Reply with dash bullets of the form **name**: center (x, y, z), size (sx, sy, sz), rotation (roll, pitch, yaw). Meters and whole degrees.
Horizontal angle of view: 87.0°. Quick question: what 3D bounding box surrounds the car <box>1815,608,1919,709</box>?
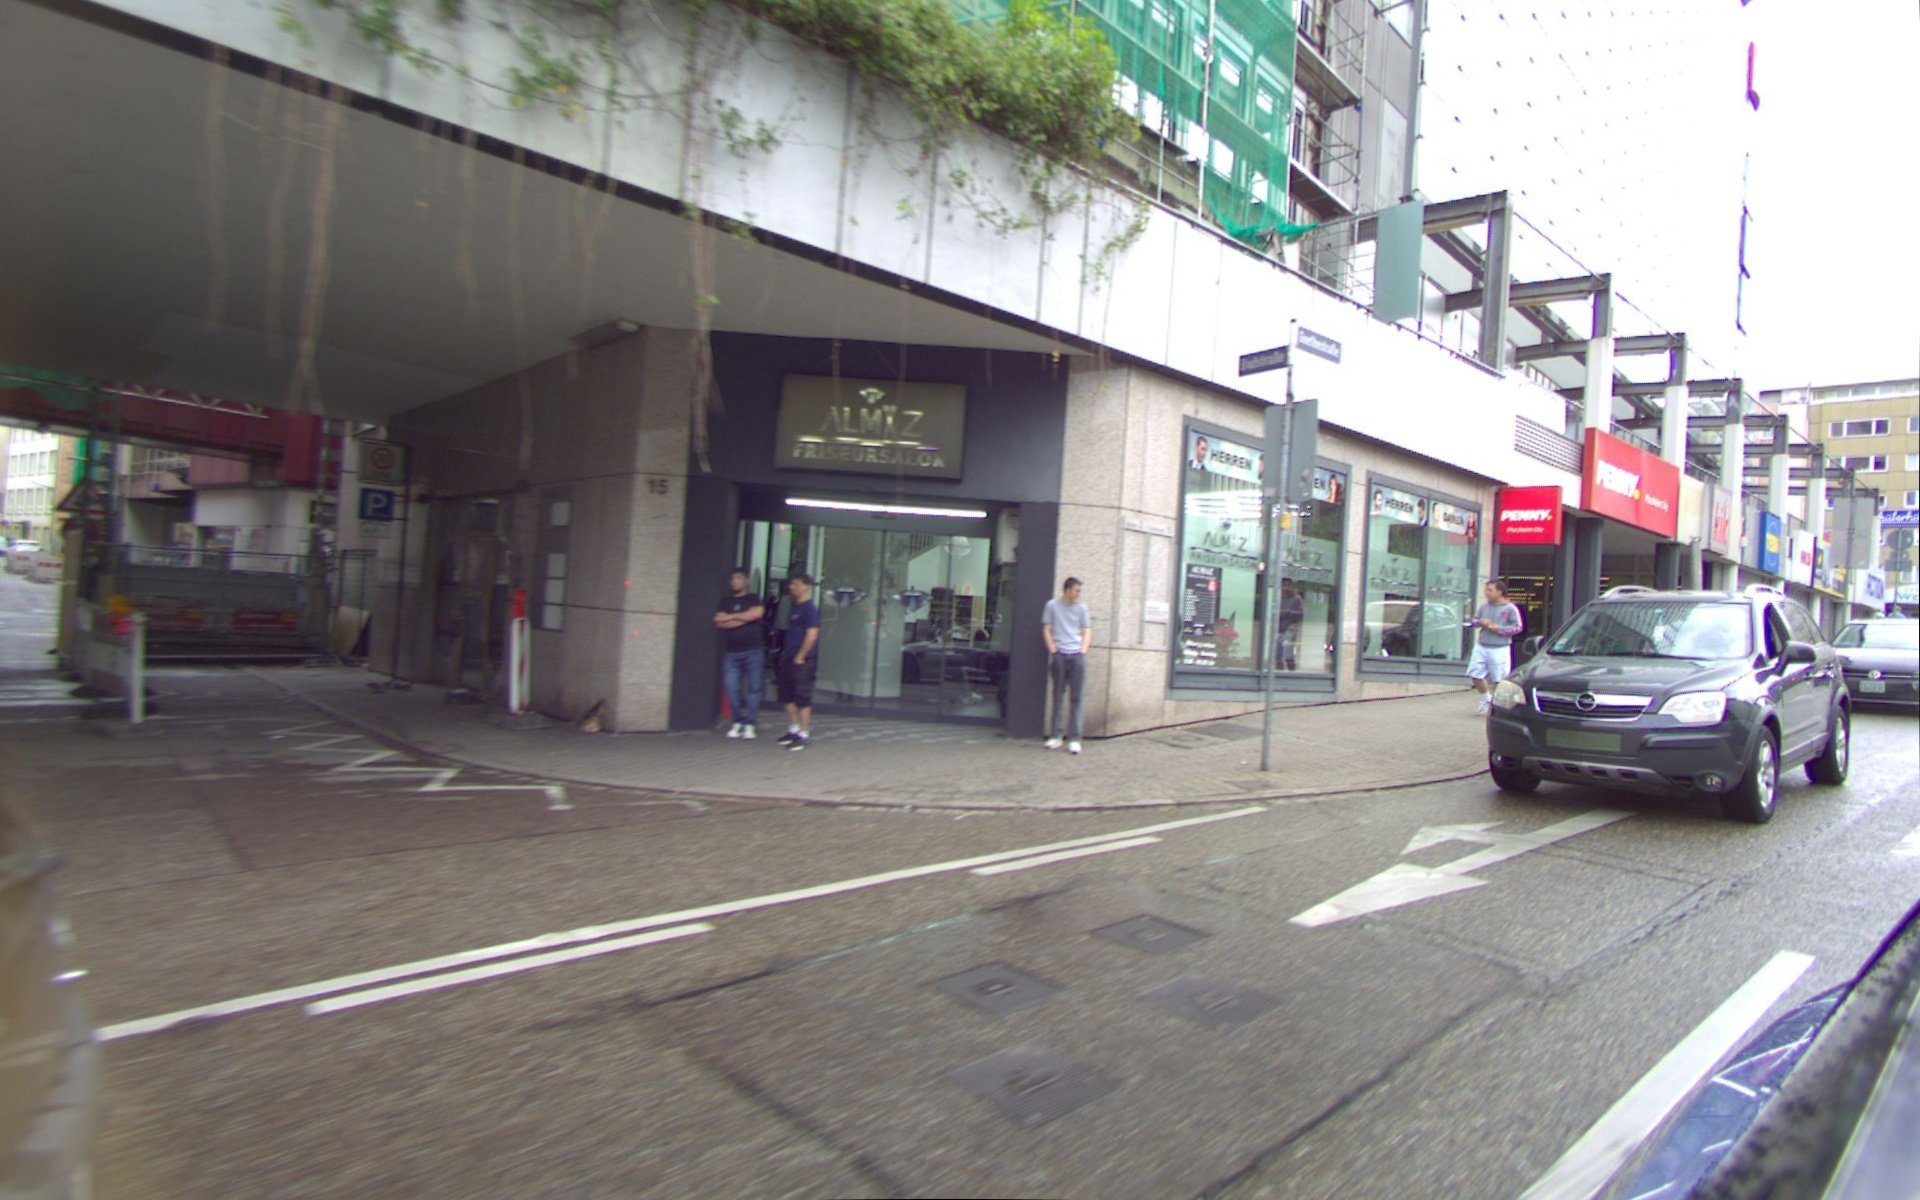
- **car**: center (15.046, 0.927, 16.006), size (3.811, 1.450, 1.740), rotation (3, -5, -41)

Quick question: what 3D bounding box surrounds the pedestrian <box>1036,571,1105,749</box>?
- **pedestrian**: center (1.075, 0.561, 9.947), size (0.552, 1.670, 0.643), rotation (2, 2, 1)

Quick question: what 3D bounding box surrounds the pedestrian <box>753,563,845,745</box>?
- **pedestrian**: center (-1.560, 0.503, 9.850), size (0.595, 1.683, 0.569), rotation (2, -1, 28)

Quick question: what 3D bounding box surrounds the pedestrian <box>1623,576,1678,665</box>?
- **pedestrian**: center (13.980, 0.414, 20.495), size (0.804, 1.736, 0.670), rotation (2, 1, -41)

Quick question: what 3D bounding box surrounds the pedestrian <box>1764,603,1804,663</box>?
- **pedestrian**: center (20.048, 0.785, 24.615), size (0.638, 1.394, 0.692), rotation (3, 1, 45)

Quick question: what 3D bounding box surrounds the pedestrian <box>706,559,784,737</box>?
- **pedestrian**: center (-2.199, 0.476, 10.398), size (0.626, 1.757, 0.515), rotation (2, -1, -1)

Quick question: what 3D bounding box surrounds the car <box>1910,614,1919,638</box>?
- **car**: center (67.200, 1.846, 68.293), size (1.822, 1.570, 4.390), rotation (1, 1, -43)

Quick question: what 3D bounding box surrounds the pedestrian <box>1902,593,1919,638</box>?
- **pedestrian**: center (40.455, 0.666, 42.937), size (0.995, 1.863, 0.600), rotation (3, 0, -43)

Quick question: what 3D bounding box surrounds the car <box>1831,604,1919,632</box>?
- **car**: center (56.912, 1.140, 62.446), size (1.768, 1.433, 4.622), rotation (4, 0, -44)

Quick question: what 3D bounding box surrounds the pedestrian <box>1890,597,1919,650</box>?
- **pedestrian**: center (32.606, 0.804, 34.709), size (0.605, 1.744, 0.839), rotation (2, 1, -32)

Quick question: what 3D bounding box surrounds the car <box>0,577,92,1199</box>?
- **car**: center (-3.000, 0.669, 0.627), size (3.704, 1.438, 1.720), rotation (1, 1, -41)

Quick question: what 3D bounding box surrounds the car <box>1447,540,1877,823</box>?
- **car**: center (6.086, 0.621, 8.599), size (4.224, 1.809, 1.910), rotation (2, -4, -40)

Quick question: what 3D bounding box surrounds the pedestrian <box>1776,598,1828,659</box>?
- **pedestrian**: center (21.137, 0.711, 25.402), size (0.690, 1.485, 0.775), rotation (2, 1, -32)

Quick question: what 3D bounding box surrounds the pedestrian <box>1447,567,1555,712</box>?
- **pedestrian**: center (6.826, 0.479, 12.789), size (0.813, 1.744, 0.839), rotation (2, 1, -32)

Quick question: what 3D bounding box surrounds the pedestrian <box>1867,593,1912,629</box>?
- **pedestrian**: center (43.987, 0.494, 47.886), size (1.043, 1.550, 1.024), rotation (5, 3, 11)
